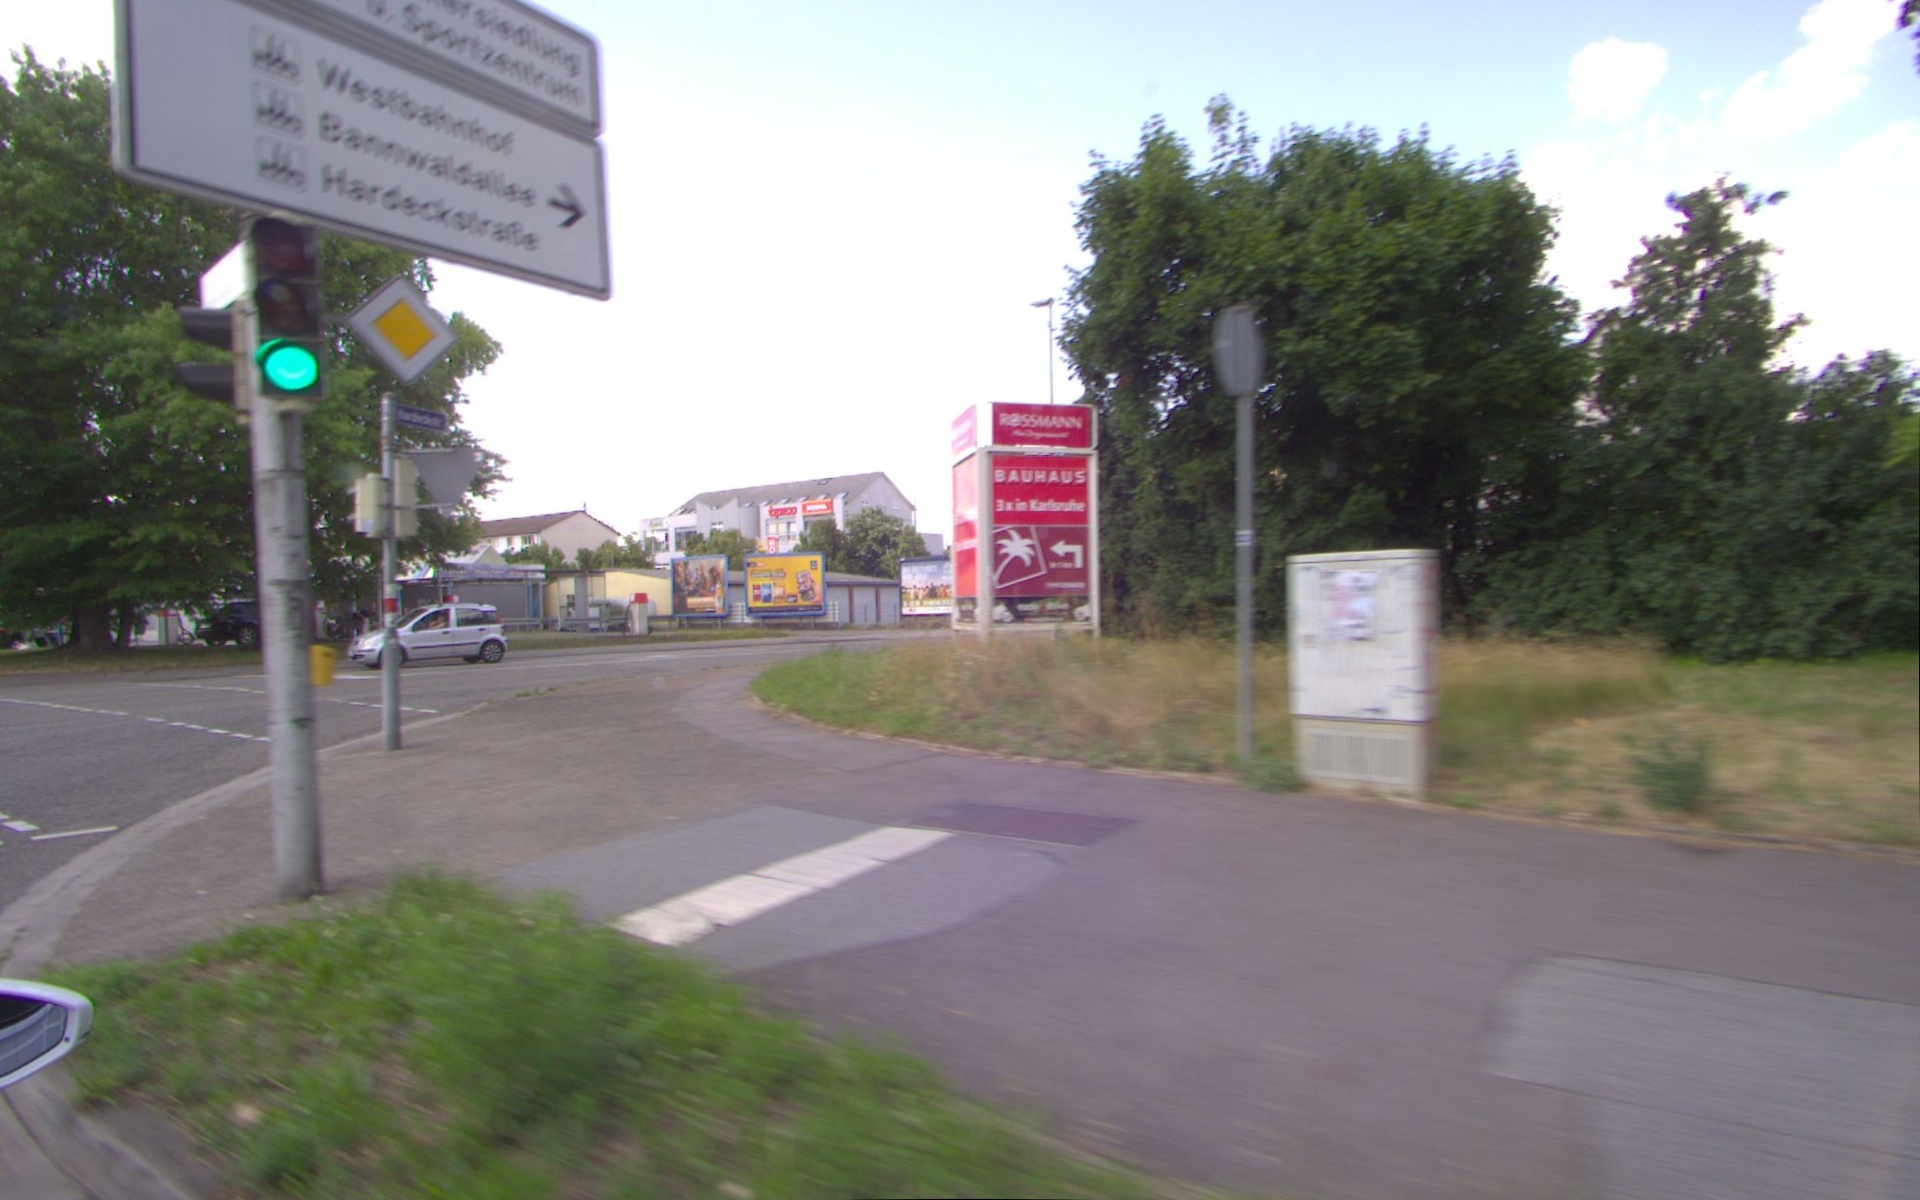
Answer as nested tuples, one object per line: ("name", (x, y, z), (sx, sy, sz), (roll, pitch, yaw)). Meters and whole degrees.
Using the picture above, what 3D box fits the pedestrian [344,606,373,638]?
("pedestrian", (-22.797, 0.835, 37.960), (0.752, 1.205, 0.645), (0, -1, -12))

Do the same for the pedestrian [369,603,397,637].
("pedestrian", (-21.948, 0.760, 38.087), (0.752, 1.271, 0.645), (0, -1, -12))

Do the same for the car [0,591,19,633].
("car", (-58.790, 0.766, 60.128), (5.665, 2.486, 1.747), (-1, 1, 30))

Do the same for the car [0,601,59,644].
("car", (-47.656, 1.131, 48.756), (2.121, 2.030, 5.175), (-1, 0, 28))

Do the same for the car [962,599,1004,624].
("car", (1.763, 0.838, 75.410), (1.626, 1.613, 3.883), (-2, 2, 27))

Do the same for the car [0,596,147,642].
("car", (-38.509, 0.779, 43.002), (2.117, 1.851, 5.184), (-1, 0, 21))

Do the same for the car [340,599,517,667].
("car", (-13.177, 0.778, 24.944), (1.543, 1.537, 3.575), (-1, 0, 44))

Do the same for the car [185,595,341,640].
("car", (-26.923, 0.634, 38.866), (2.117, 1.617, 4.552), (-1, 0, 21))
